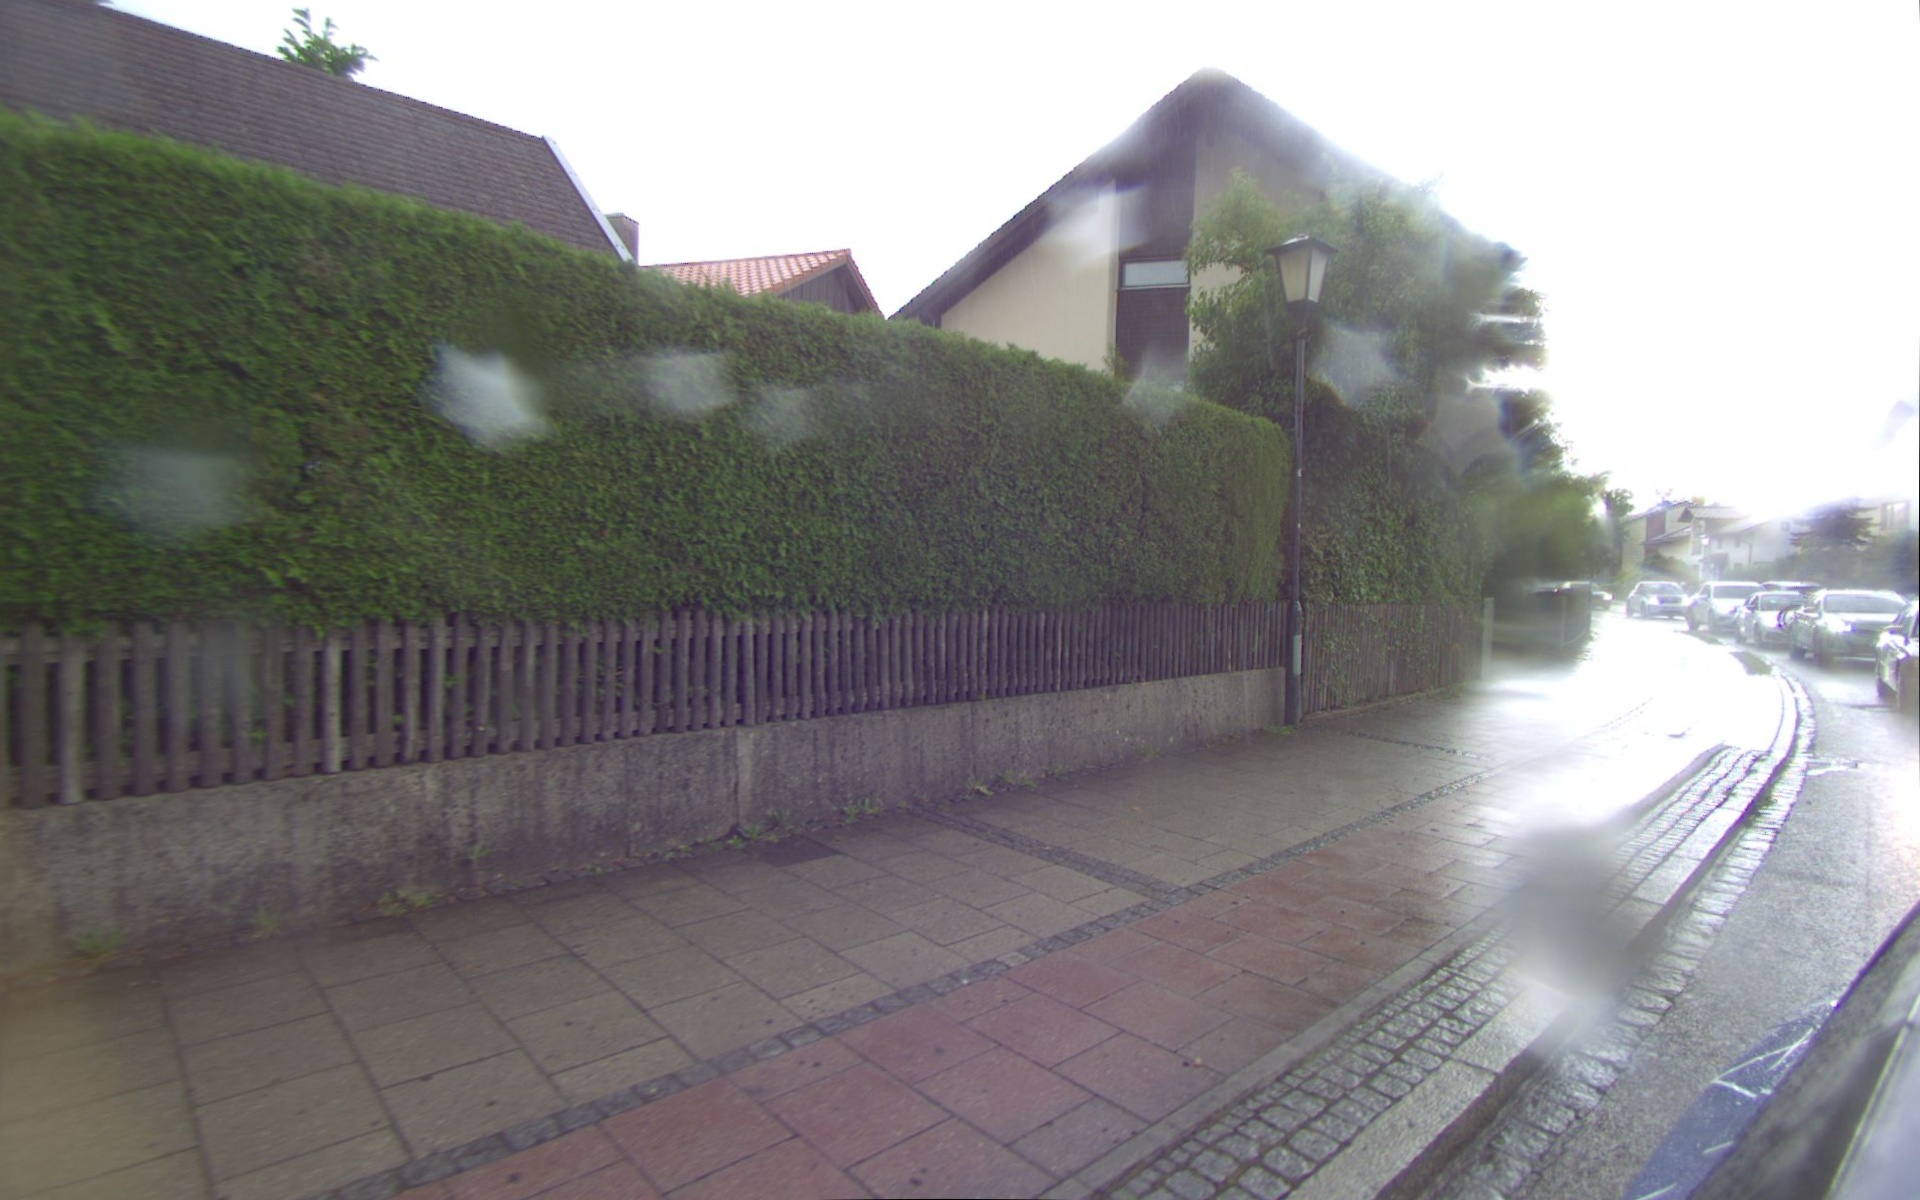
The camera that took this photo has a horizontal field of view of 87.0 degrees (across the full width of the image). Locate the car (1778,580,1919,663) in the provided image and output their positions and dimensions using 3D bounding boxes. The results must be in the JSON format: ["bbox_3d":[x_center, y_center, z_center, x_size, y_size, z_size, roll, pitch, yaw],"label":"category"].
[{"bbox_3d":[18.608,0.354,20.978,1.780,1.497,5.327,0,1,31],"label":"car"}]

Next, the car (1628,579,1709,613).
[{"bbox_3d":[30.477,-0.190,43.680,1.772,1.390,4.254,0,1,19],"label":"car"}]

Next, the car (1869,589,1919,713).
[{"bbox_3d":[13.208,0.586,13.093,1.785,1.412,4.224,0,1,37],"label":"car"}]

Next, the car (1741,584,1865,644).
[{"bbox_3d":[21.579,0.299,26.085,1.780,1.412,4.235,0,1,31],"label":"car"}]

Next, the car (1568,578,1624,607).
[{"bbox_3d":[34.973,-0.433,55.763,1.773,1.568,4.252,0,1,21],"label":"car"}]

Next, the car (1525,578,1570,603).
[{"bbox_3d":[39.200,-0.659,67.578,1.772,1.568,4.255,0,1,19],"label":"car"}]

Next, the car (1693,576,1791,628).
[{"bbox_3d":[24.980,0.023,32.468,1.778,1.568,4.240,0,1,28],"label":"car"}]

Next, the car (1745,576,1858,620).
[{"bbox_3d":[32.563,-0.091,39.329,1.974,1.615,4.166,0,0,19],"label":"car"}]

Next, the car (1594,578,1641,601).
[{"bbox_3d":[44.664,-0.726,68.797,1.773,1.568,4.252,0,1,21],"label":"car"}]
